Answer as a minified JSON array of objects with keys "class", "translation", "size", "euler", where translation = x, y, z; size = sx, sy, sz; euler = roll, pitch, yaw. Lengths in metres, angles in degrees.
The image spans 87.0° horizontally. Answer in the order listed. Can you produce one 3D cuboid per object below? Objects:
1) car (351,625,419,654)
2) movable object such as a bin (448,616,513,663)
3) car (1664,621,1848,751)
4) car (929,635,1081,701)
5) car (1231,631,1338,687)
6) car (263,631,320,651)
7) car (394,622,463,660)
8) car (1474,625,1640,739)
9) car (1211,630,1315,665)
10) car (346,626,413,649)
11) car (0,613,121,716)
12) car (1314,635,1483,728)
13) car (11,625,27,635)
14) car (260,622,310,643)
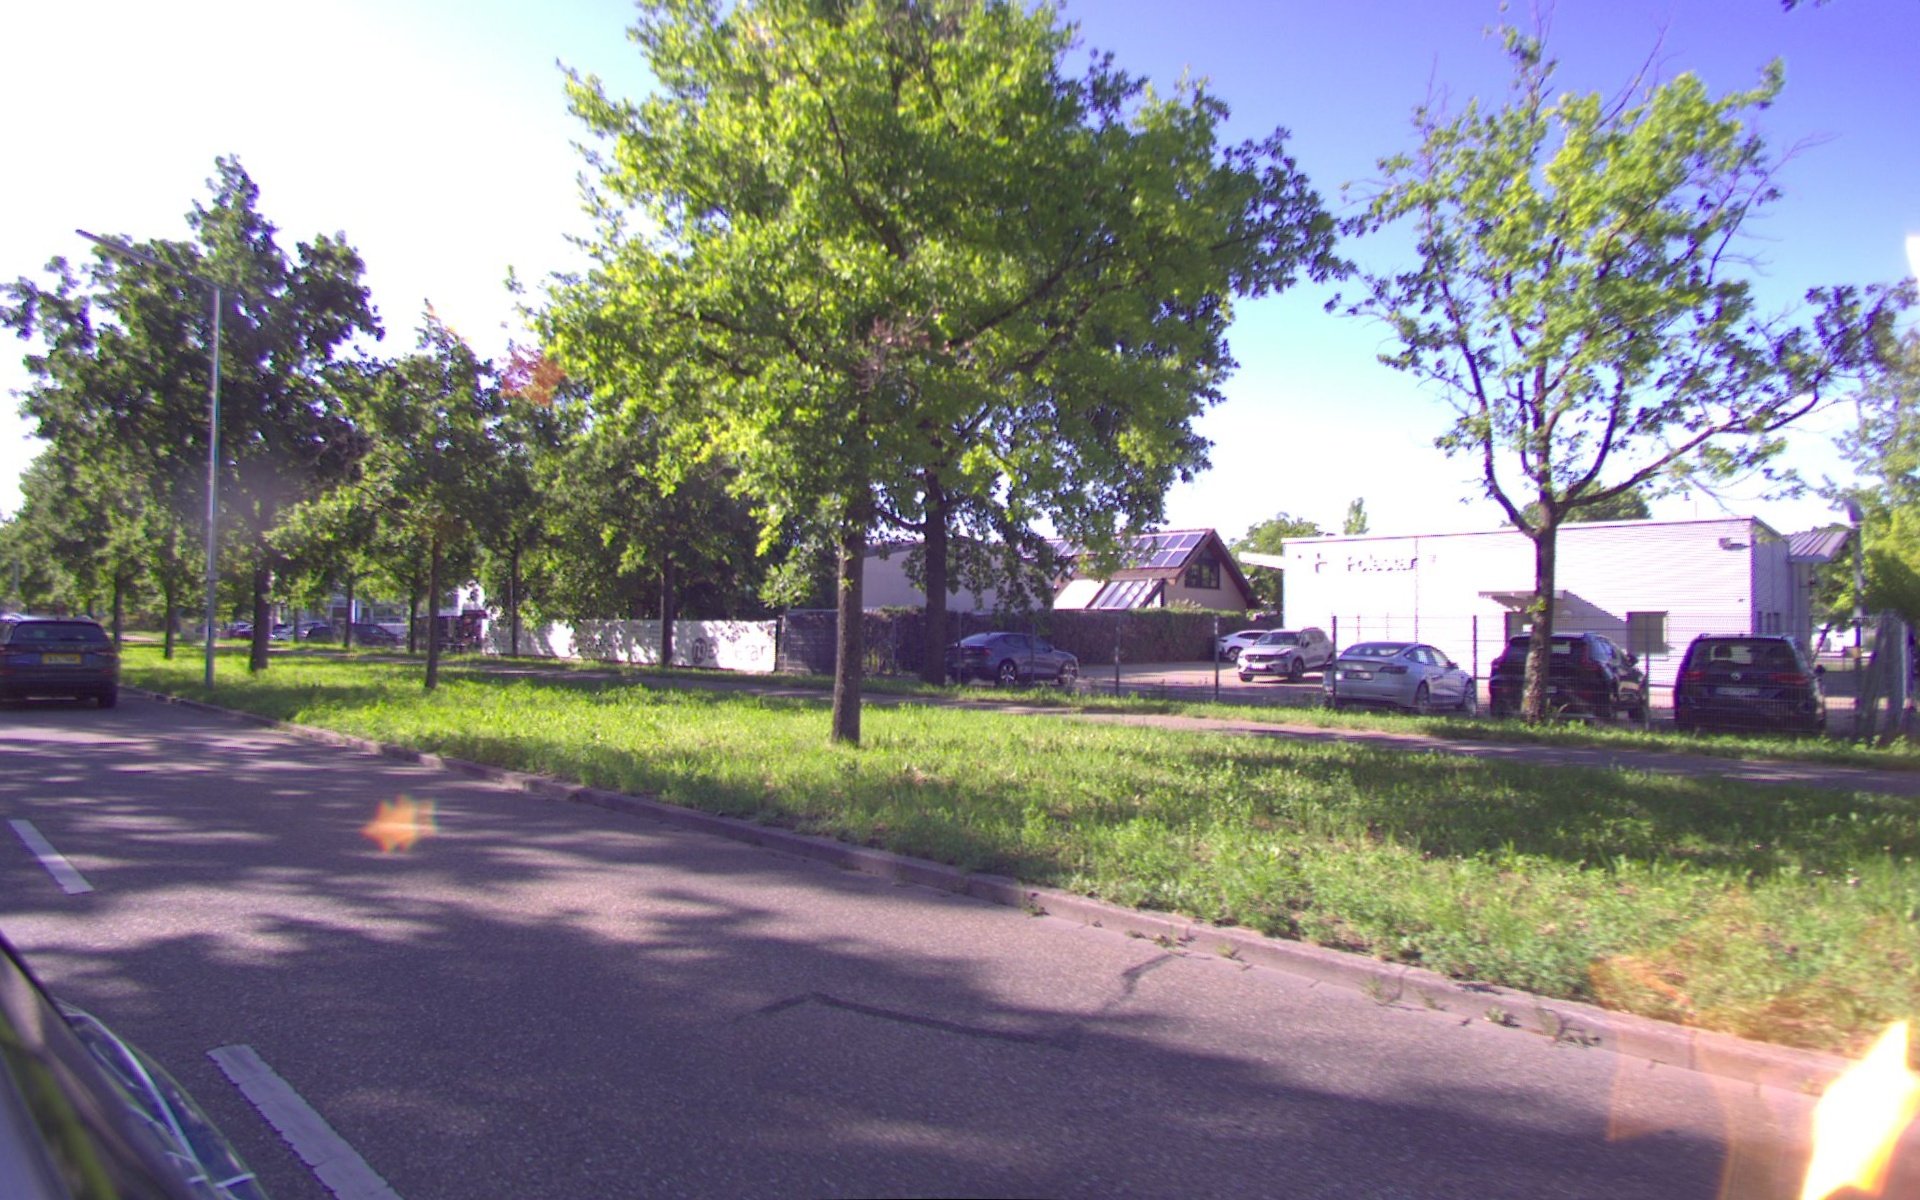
[{"class":"car","translation":[-41.442,2.815,73.043],"size":[3.931,2.029,2.006],"euler":[0,-2,-17]},{"class":"movable object such as a bin","translation":[-27.058,2.164,57.091],"size":[4.237,2.535,1.971],"euler":[-1,0,44]},{"class":"car","translation":[13.066,1.268,16.526],"size":[2.000,1.755,3.943],"euler":[-1,0,43]},{"class":"car","translation":[1.294,1.812,28.036],"size":[2.198,1.530,3.944],"euler":[-1,0,42]},{"class":"car","translation":[10.321,1.812,32.030],"size":[1.751,1.530,3.944],"euler":[-1,0,42]},{"class":"car","translation":[-57.428,3.489,86.973],"size":[3.827,1.513,2.007],"euler":[-1,0,-26]},{"class":"car","translation":[-31.935,2.412,60.740],"size":[5.672,2.191,1.971],"euler":[-2,-2,44]},{"class":"car","translation":[11.053,1.392,18.627],"size":[1.862,1.759,3.944],"euler":[-1,0,42]},{"class":"car","translation":[14.142,2.211,47.501],"size":[4.578,1.530,1.738],"euler":[-1,0,16]},{"class":"car","translation":[-51.796,3.314,90.385],"size":[4.963,1.852,2.007],"euler":[-1,0,-24]},{"class":"car","translation":[-16.860,1.101,18.440],"size":[4.198,1.685,1.749],"euler":[-1,-3,42]},{"class":"car","translation":[9.001,1.557,20.577],"size":[1.862,1.530,4.264],"euler":[-1,0,42]},{"class":"car","translation":[-176.095,5.608,189.327],"size":[1.969,2.029,4.006],"euler":[1,-2,-40]},{"class":"car","translation":[-64.405,3.063,96.619],"size":[1.973,1.851,3.997],"euler":[-1,0,3]}]
